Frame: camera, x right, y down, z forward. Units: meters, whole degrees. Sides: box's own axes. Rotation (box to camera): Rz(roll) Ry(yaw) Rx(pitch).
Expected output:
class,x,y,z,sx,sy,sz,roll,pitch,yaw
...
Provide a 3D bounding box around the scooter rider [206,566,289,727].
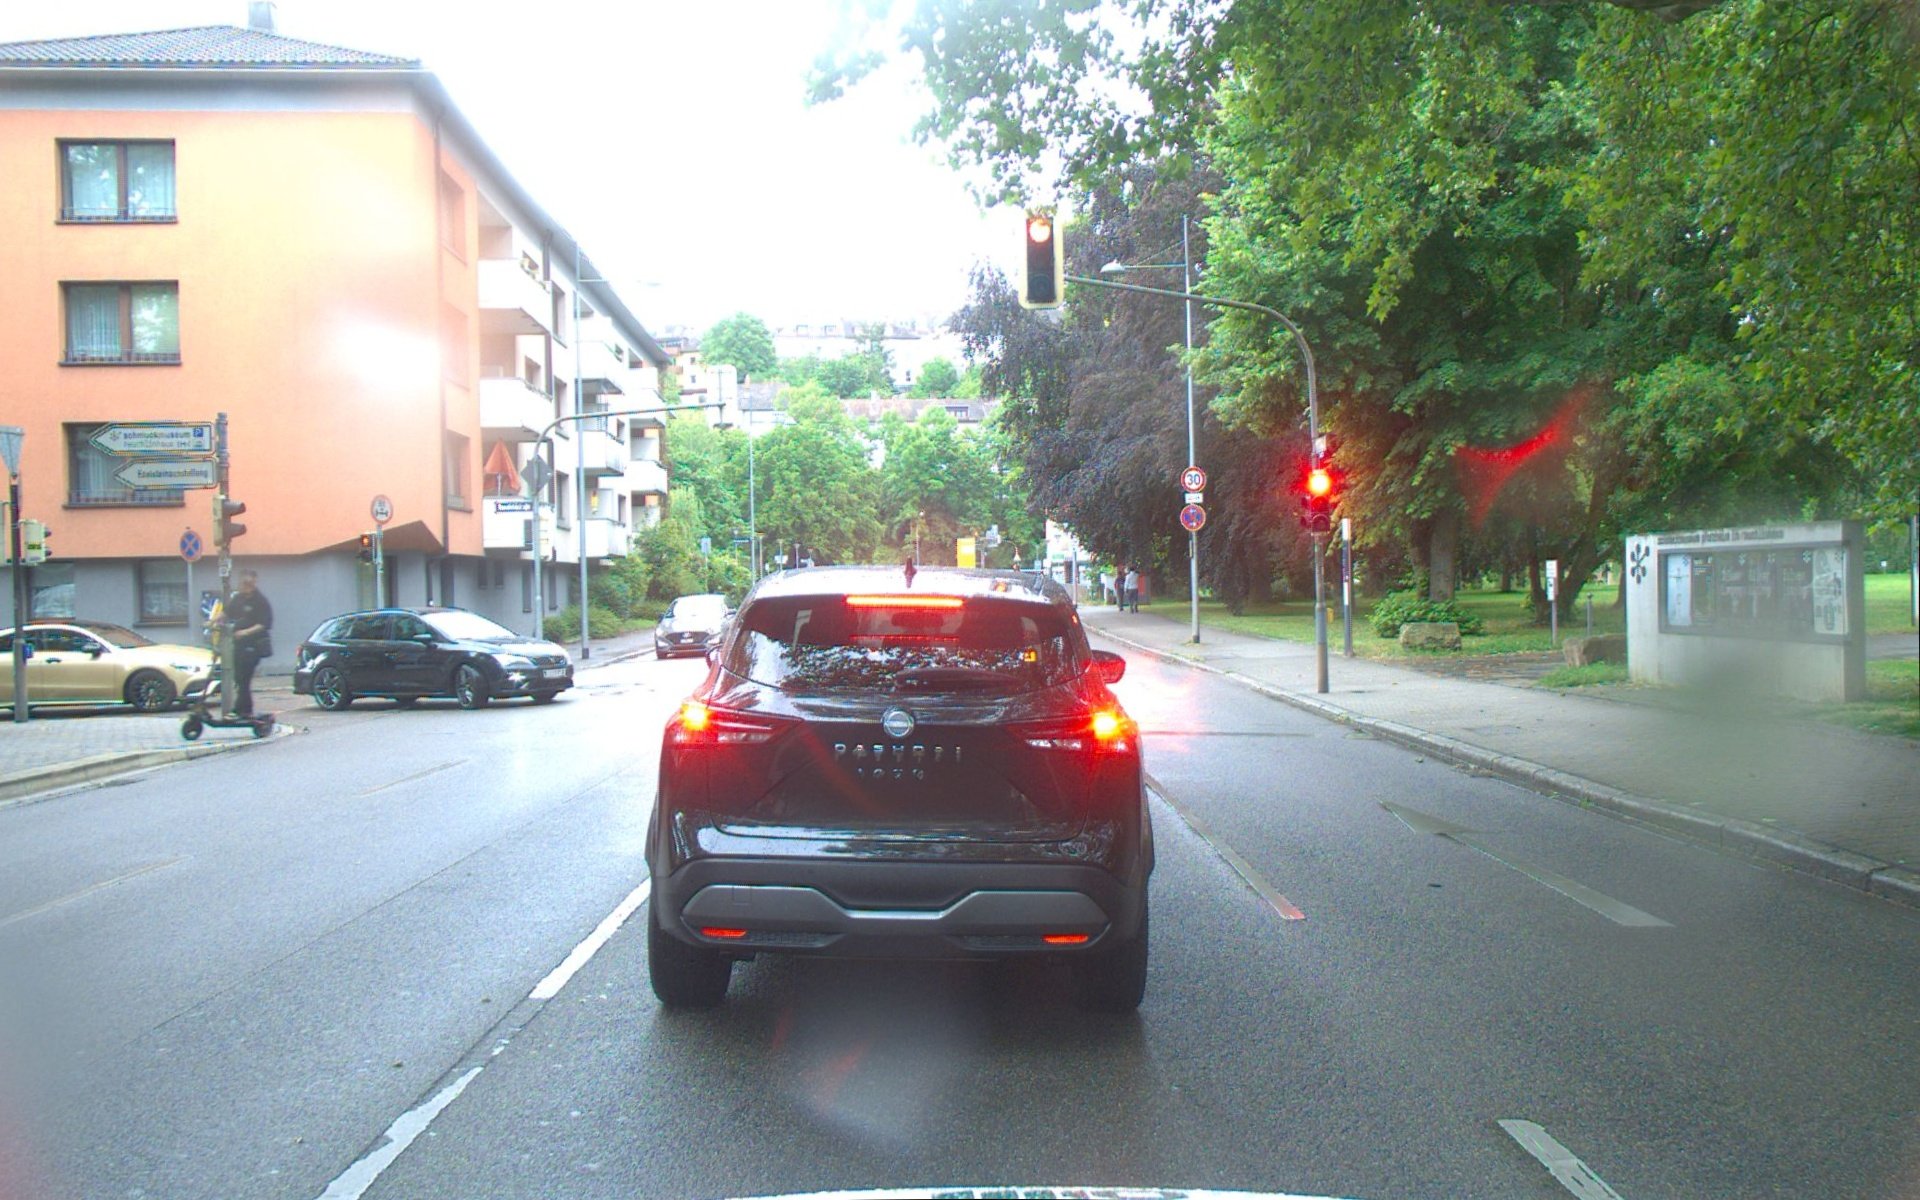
class,x,y,z,sx,sy,sz,roll,pitch,yaw
scooter rider,-8.202,0.528,19.030,0.722,1.797,0.641,-2,-2,43

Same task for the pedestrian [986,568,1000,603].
class,x,y,z,sx,sy,sz,roll,pitch,yaw
pedestrian,1.715,-0.774,86.844,0.501,1.833,0.615,-2,0,-22

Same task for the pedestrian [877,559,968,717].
class,x,y,z,sx,sy,sz,roll,pitch,yaw
pedestrian,-0.470,0.468,20.466,1.017,1.909,0.656,1,0,-11

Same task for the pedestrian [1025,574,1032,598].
class,x,y,z,sx,sy,sz,roll,pitch,yaw
pedestrian,5.209,-1.083,125.735,0.498,1.833,0.659,-2,0,0

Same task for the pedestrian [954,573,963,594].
class,x,y,z,sx,sy,sz,roll,pitch,yaw
pedestrian,-0.109,-1.316,135.371,0.498,1.702,0.658,-2,0,27

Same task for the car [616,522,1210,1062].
class,x,y,z,sx,sy,sz,roll,pitch,yaw
car,-0.170,0.595,7.256,1.874,1.709,3.999,0,0,-1

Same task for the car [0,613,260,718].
class,x,y,z,sx,sy,sz,roll,pitch,yaw
car,-13.739,1.029,26.119,4.546,1.428,1.830,-2,0,-6

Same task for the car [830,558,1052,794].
class,x,y,z,sx,sy,sz,roll,pitch,yaw
car,-0.175,0.572,14.638,1.664,1.776,3.640,-2,0,-1

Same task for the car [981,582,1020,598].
class,x,y,z,sx,sy,sz,roll,pitch,yaw
car,4.272,-1.105,176.688,3.883,1.559,1.636,-2,0,-11

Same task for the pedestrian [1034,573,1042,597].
class,x,y,z,sx,sy,sz,roll,pitch,yaw
pedestrian,5.947,-1.142,125.678,0.498,1.833,0.619,-2,0,-2

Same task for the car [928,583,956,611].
class,x,y,z,sx,sy,sz,roll,pitch,yaw
car,-1.099,-0.211,98.802,1.601,1.559,3.967,-2,1,-1

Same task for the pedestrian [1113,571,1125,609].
class,x,y,z,sx,sy,sz,roll,pitch,yaw
pedestrian,6.464,-0.408,67.411,0.382,1.528,0.559,-2,0,-1

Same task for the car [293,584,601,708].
class,x,y,z,sx,sy,sz,roll,pitch,yaw
car,-7.563,0.682,24.405,4.040,1.654,1.852,-2,0,22

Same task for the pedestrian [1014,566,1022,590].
class,x,y,z,sx,sy,sz,roll,pitch,yaw
pedestrian,4.437,-1.659,126.422,0.498,1.833,0.619,-2,0,-1

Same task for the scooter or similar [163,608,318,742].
class,x,y,z,sx,sy,sz,roll,pitch,yaw
scooter or similar,-8.250,0.849,18.992,0.803,1.471,1.389,0,-2,43

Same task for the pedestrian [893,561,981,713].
class,x,y,z,sx,sy,sz,roll,pitch,yaw
pedestrian,-0.304,0.472,21.220,1.017,1.909,0.656,1,0,-11

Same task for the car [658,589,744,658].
class,x,y,z,sx,sy,sz,roll,pitch,yaw
car,-6.393,0.552,41.191,1.760,1.560,3.864,-2,0,-4

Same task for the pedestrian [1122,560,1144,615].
class,x,y,z,sx,sy,sz,roll,pitch,yaw
pedestrian,6.588,-0.483,62.980,0.710,2.049,0.851,-2,0,-1

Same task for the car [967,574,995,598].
class,x,y,z,sx,sy,sz,roll,pitch,yaw
car,1.645,-1.106,130.577,1.952,1.765,4.002,1,0,4
